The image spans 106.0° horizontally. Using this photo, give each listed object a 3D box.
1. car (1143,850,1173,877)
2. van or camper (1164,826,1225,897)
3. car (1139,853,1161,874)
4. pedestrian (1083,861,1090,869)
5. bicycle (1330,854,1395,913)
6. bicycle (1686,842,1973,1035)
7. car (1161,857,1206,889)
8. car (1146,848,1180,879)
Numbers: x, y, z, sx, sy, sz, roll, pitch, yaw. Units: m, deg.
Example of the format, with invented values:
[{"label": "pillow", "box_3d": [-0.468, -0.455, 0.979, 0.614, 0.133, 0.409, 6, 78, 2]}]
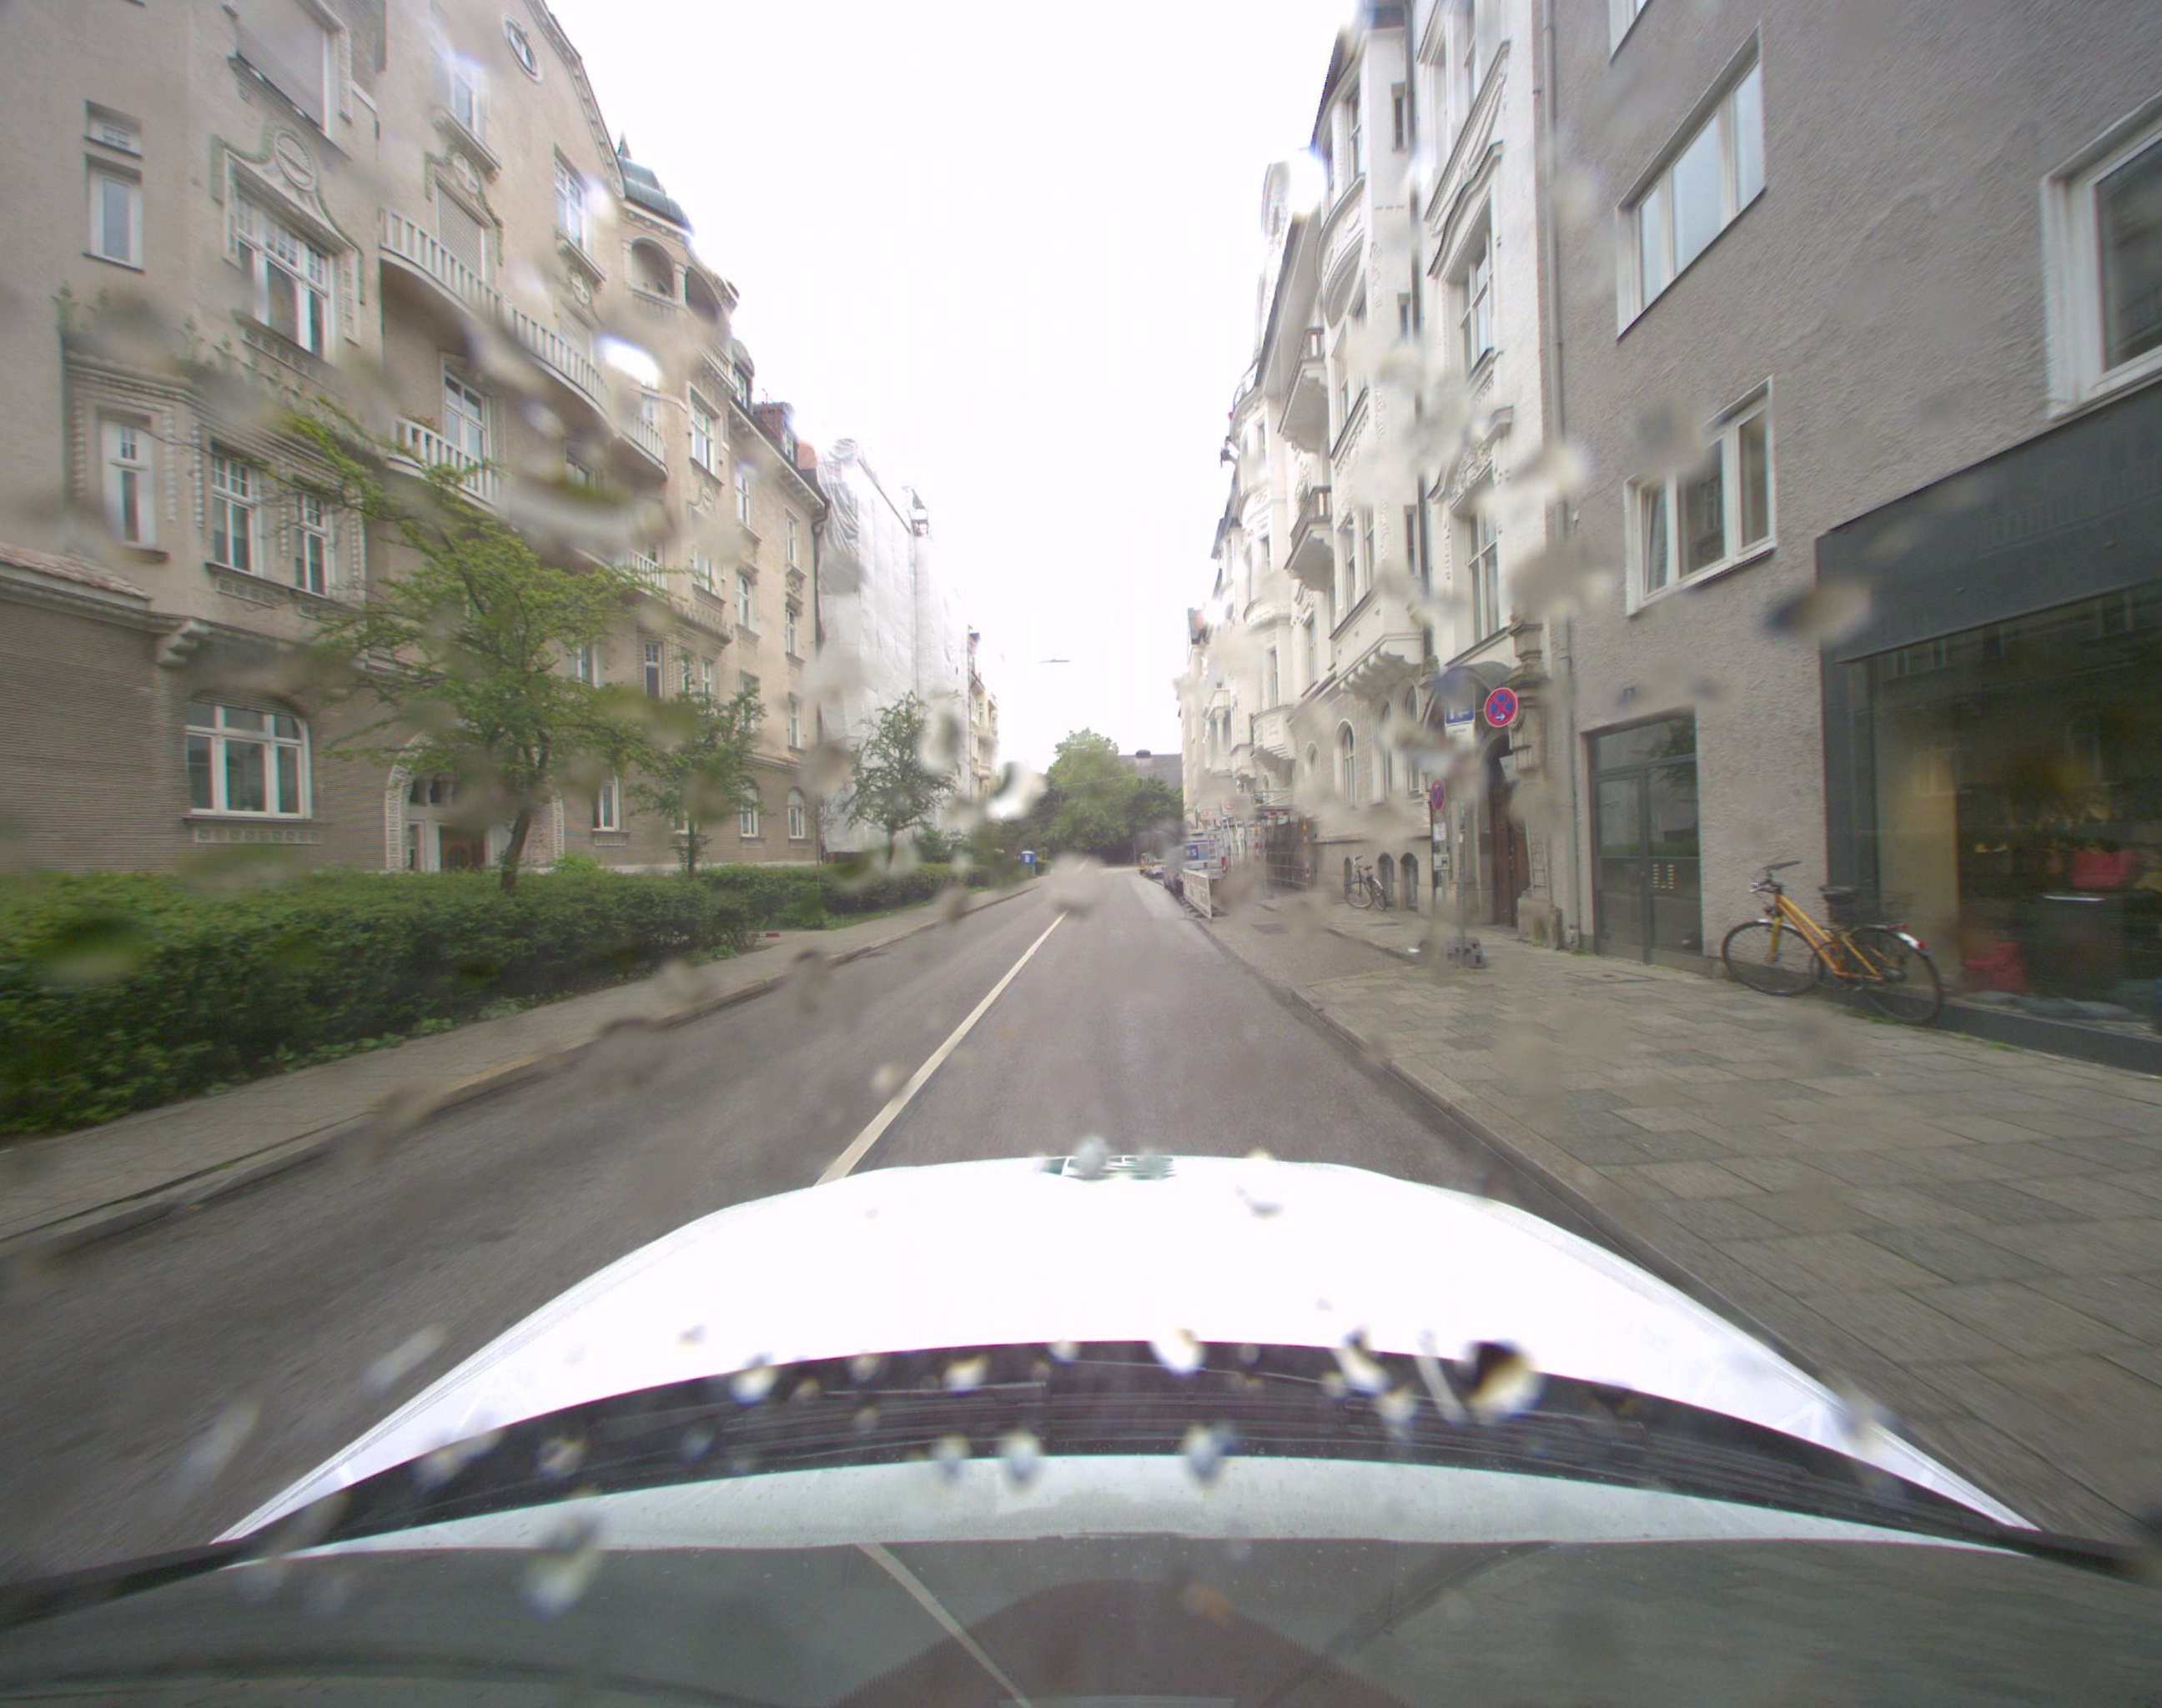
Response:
[{"label": "car", "box_3d": [6.054, 0.736, 64.831, 1.952, 1.937, 4.994, -2, 0, 1]}, {"label": "van or camper", "box_3d": [4.647, 0.311, 34.064, 1.946, 2.637, 5.462, -2, -1, 3]}, {"label": "car", "box_3d": [6.475, 0.837, 76.096, 1.841, 1.853, 4.828, -2, 0, 6]}, {"label": "pedestrian", "box_3d": [0.741, 1.575, 117.419, 0.807, 1.189, 0.921, -2, -1, 9]}, {"label": "bicycle", "box_3d": [6.340, 0.649, 18.437, 0.658, 1.206, 1.921, -6, -1, -1]}, {"label": "bicycle", "box_3d": [5.726, 0.574, 6.407, 0.510, 1.260, 1.821, -6, -1, 2]}, {"label": "car", "box_3d": [4.983, 0.918, 40.014, 1.747, 1.434, 4.088, -2, 0, 1]}, {"label": "car", "box_3d": [5.846, 0.671, 58.628, 1.952, 2.013, 4.994, -2, 0, 1]}]
